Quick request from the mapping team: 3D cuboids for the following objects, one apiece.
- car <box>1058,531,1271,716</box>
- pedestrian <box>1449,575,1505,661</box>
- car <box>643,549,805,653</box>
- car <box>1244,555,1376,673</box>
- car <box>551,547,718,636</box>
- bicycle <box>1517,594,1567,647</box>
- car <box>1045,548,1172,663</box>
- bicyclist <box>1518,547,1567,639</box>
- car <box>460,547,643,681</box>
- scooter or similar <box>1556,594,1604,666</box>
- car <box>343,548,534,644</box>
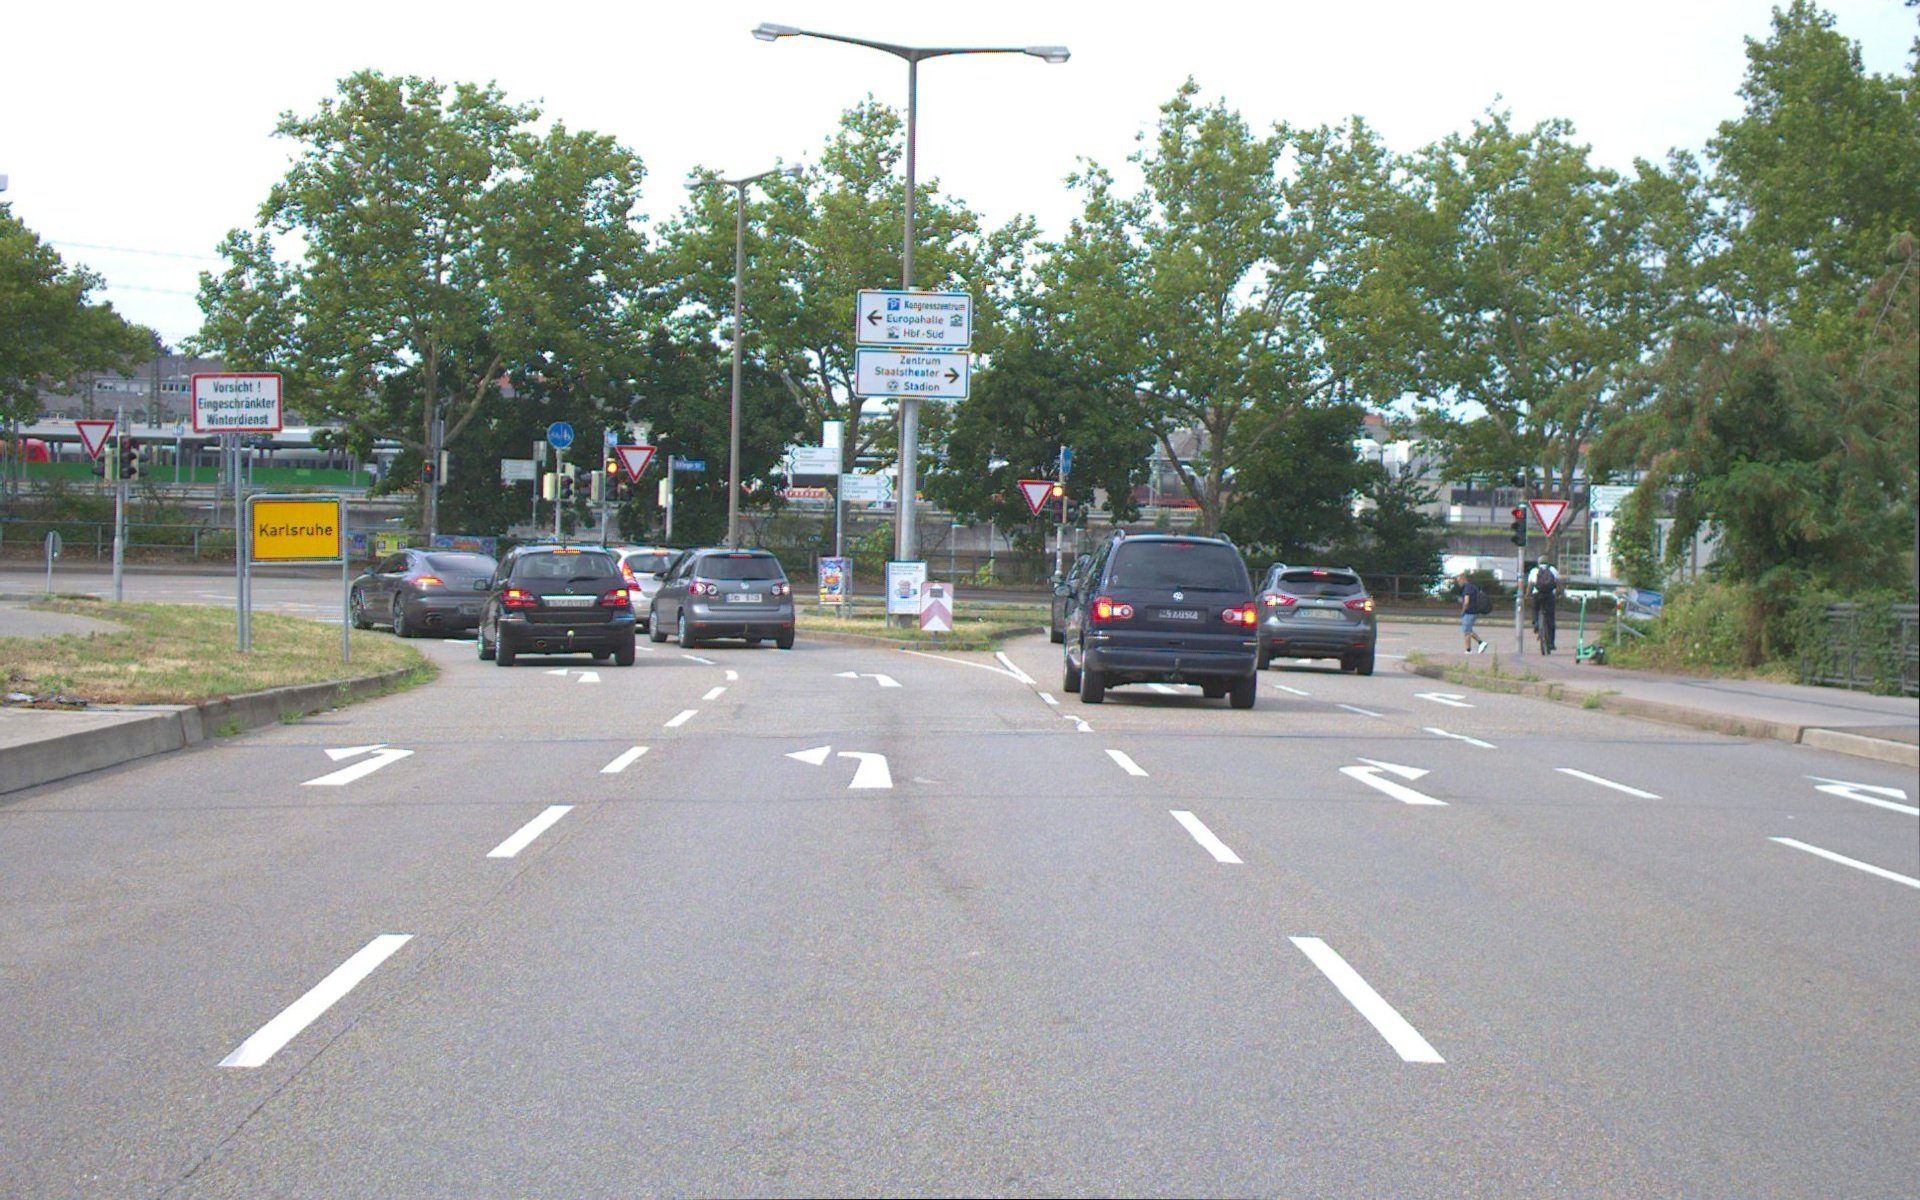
[{"bbox_3d":[2.056,0.221,35.624,1.750,1.719,4.138,3,0,-2],"label":"car"},{"bbox_3d":[10.538,0.357,70.072,1.047,1.704,0.853,2,1,10],"label":"pedestrian"},{"bbox_3d":[-3.736,-0.012,53.812,1.740,1.541,4.083,1,1,-15],"label":"car"},{"bbox_3d":[5.313,0.208,52.533,1.750,1.637,4.137,3,0,4],"label":"car"},{"bbox_3d":[-5.751,-0.166,60.343,1.740,1.477,4.083,1,1,-23],"label":"car"},{"bbox_3d":[10.883,0.375,64.231,0.809,0.949,2.234,1,1,12],"label":"bicycle"},{"bbox_3d":[2.201,0.072,51.958,1.690,1.580,4.156,3,0,0],"label":"car"},{"bbox_3d":[10.890,-0.143,64.262,0.811,1.690,1.115,1,1,13],"label":"bicyclist"},{"bbox_3d":[-5.437,0.149,45.359,1.756,1.570,4.038,2,1,-15],"label":"car"},{"bbox_3d":[10.335,0.488,57.304,0.396,1.179,1.281,1,0,-8],"label":"scooter or similar"},{"bbox_3d":[-8.546,-0.091,56.020,1.818,1.409,4.778,1,1,-24],"label":"car"}]
